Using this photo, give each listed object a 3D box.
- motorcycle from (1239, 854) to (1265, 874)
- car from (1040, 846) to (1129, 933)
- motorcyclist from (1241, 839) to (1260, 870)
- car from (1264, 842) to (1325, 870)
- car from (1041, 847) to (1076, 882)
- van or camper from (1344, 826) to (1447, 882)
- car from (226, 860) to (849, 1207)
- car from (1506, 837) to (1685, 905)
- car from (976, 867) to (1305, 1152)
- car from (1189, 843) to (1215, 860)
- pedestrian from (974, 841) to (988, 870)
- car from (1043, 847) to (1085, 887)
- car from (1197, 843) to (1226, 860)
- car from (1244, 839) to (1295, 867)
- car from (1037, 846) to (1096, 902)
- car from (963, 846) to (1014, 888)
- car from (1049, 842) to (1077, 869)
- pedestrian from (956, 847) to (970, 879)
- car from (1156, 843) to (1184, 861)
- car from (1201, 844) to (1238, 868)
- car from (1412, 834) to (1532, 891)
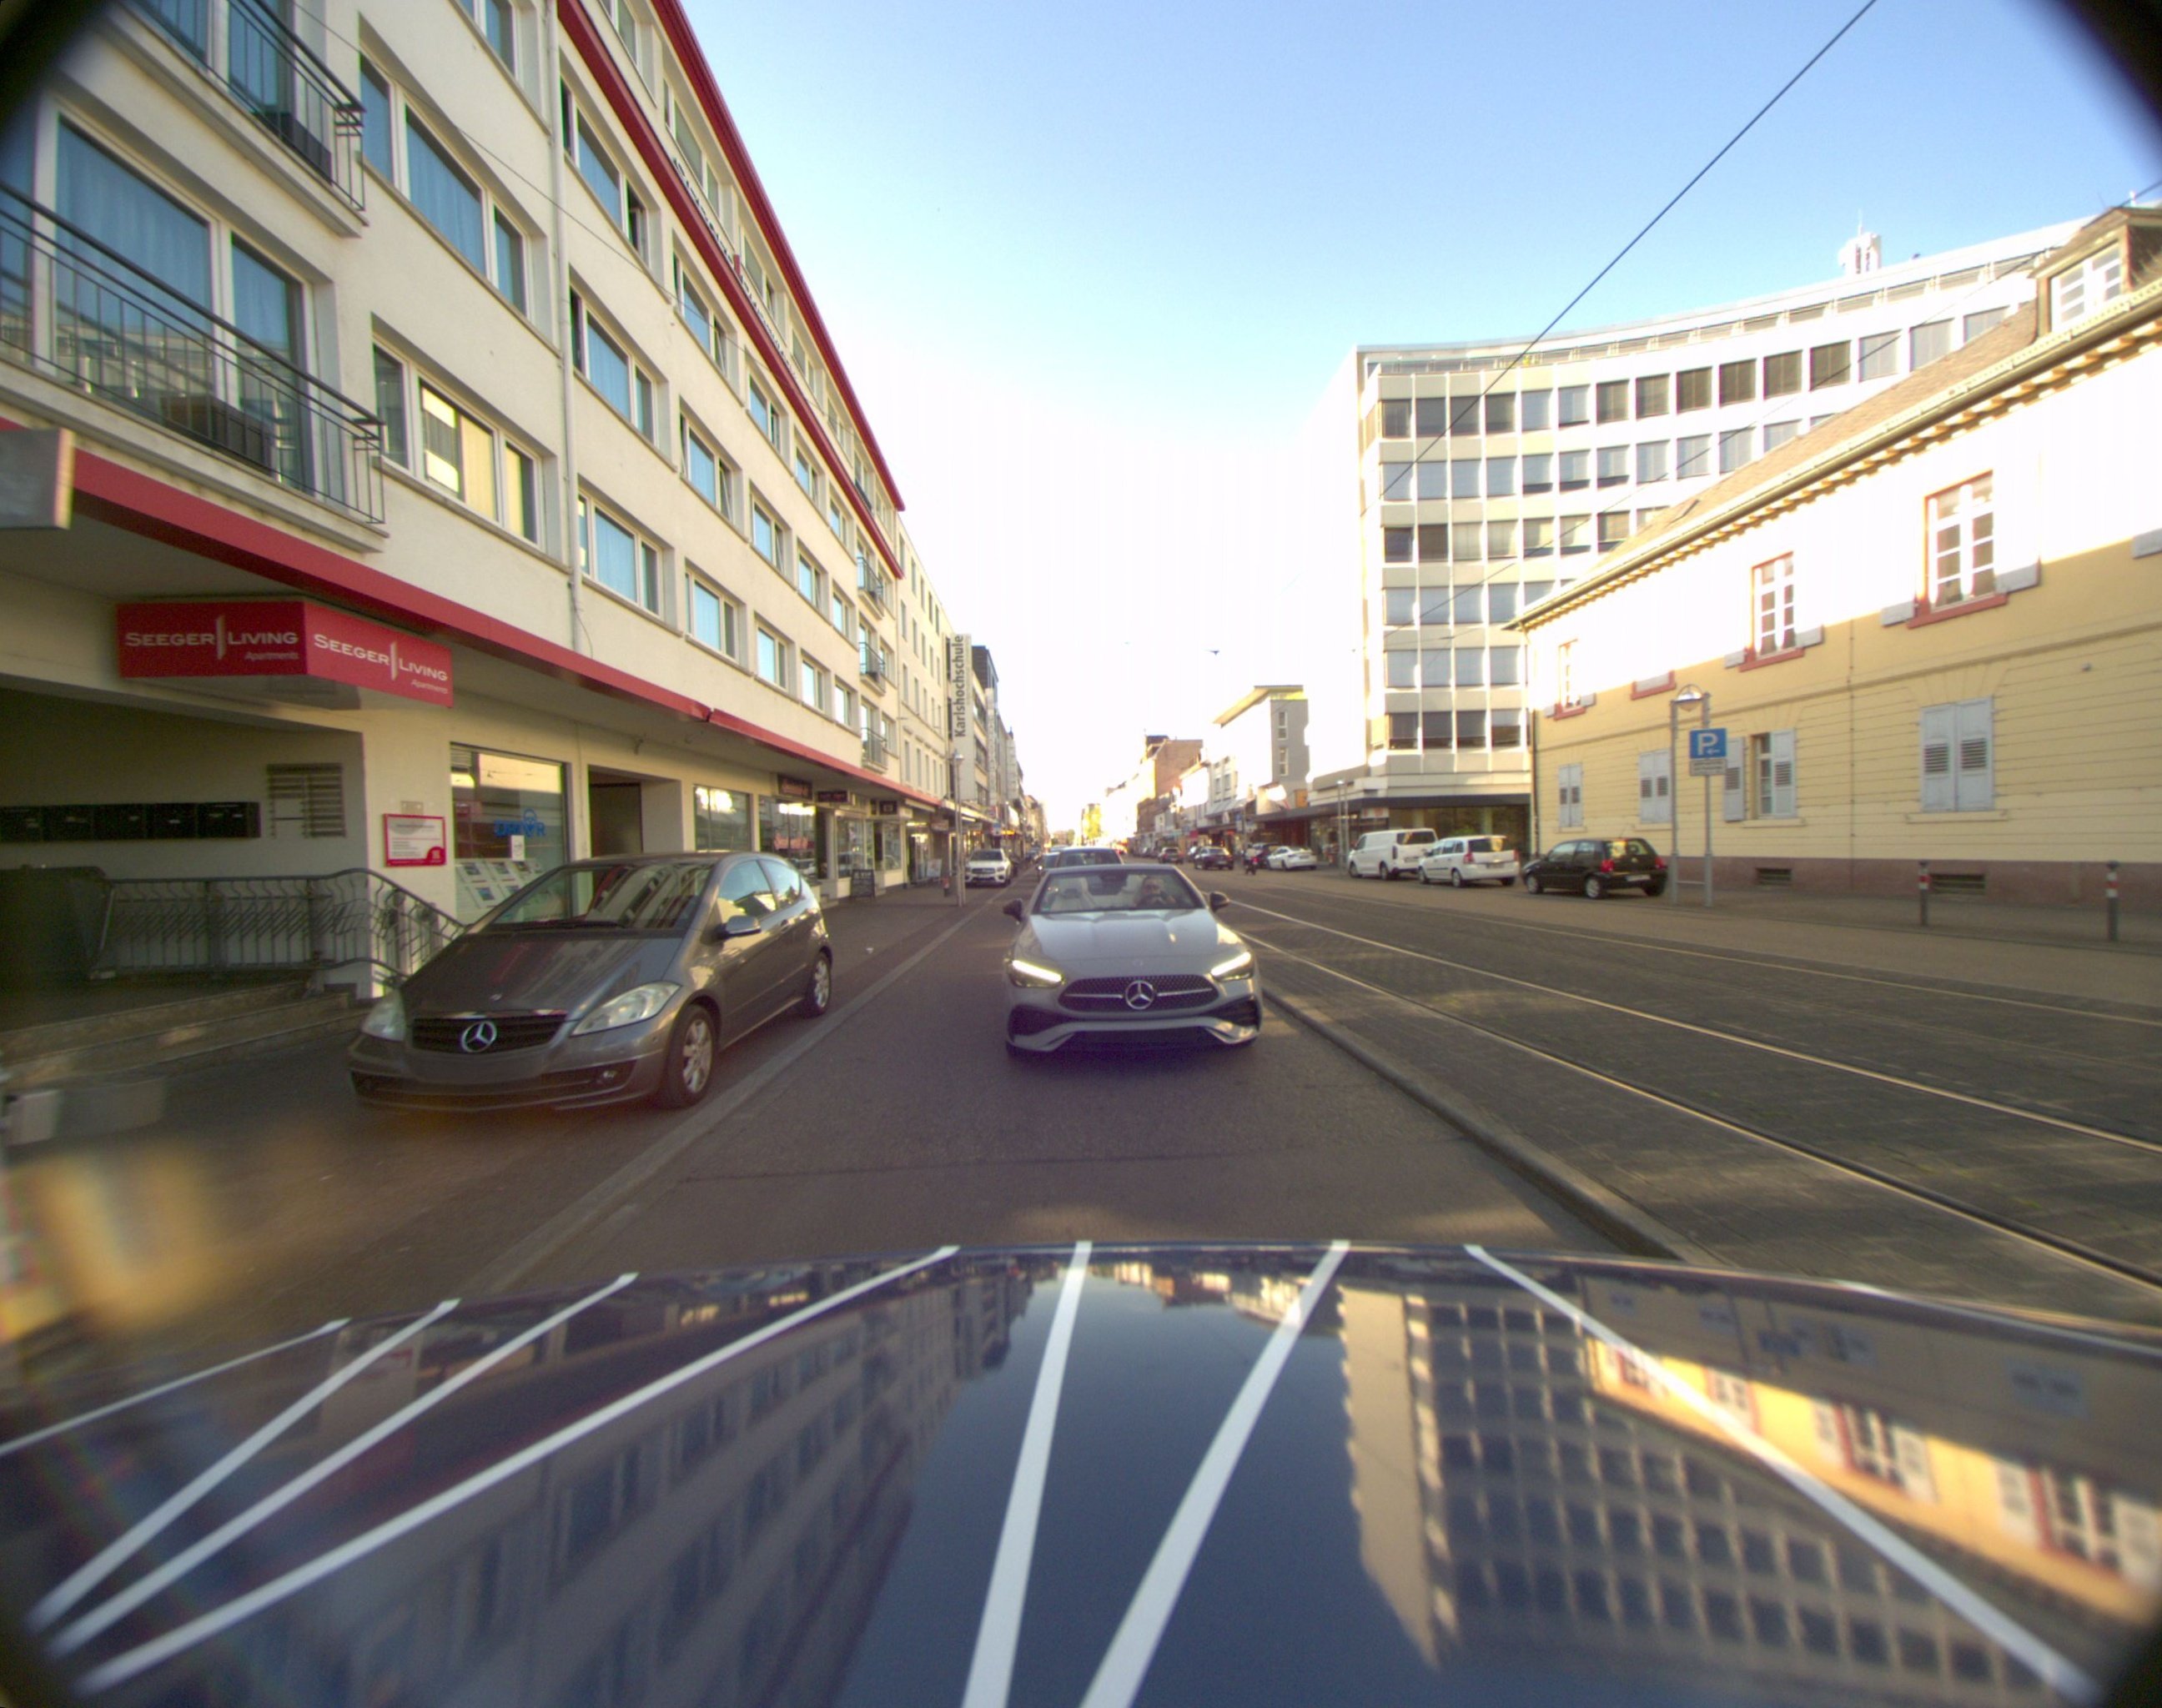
[{"bbox_3d":[8.868,0.498,39.439,0.601,0.921,2.154,-2,1,-7],"label":"motorcycle"},{"bbox_3d":[0.046,0.686,16.908,1.737,1.654,3.960,0,1,-1],"label":"car"},{"bbox_3d":[8.835,0.031,39.589,0.654,1.550,0.883,-2,2,-7],"label":"motorcyclist"},{"bbox_3d":[12.260,0.064,43.968,1.931,1.444,4.291,-4,1,-5],"label":"car"},{"bbox_3d":[-1.120,0.501,39.150,1.737,1.654,3.780,0,1,-1],"label":"car"},{"bbox_3d":[12.553,-0.034,30.688,1.960,1.962,4.795,-4,1,-2],"label":"van or camper"},{"bbox_3d":[-3.216,0.885,5.651,1.781,1.560,3.960,0,1,-1],"label":"car"},{"bbox_3d":[12.792,0.349,19.234,1.781,1.431,3.960,-3,1,-1],"label":"car"},{"bbox_3d":[0.318,0.922,6.705,1.869,1.431,4.773,0,1,-1],"label":"car"},{"bbox_3d":[11.519,-0.278,72.579,1.786,1.511,3.831,-2,1,-2],"label":"car"},{"bbox_3d":[-6.293,0.073,47.975,0.738,1.807,0.748,-2,2,-3],"label":"pedestrian"},{"bbox_3d":[-0.735,0.522,33.816,1.737,1.654,3.960,0,1,-1],"label":"car"},{"bbox_3d":[11.559,-0.241,67.482,1.786,1.409,3.596,-2,1,-3],"label":"car"},{"bbox_3d":[12.195,-0.091,49.499,1.931,1.633,4.280,-4,1,-4],"label":"car"},{"bbox_3d":[-0.472,0.591,25.373,1.783,1.654,3.960,0,1,-1],"label":"car"},{"bbox_3d":[-3.975,0.525,33.313,1.783,1.654,4.162,0,1,-1],"label":"car"},{"bbox_3d":[-1.121,0.062,48.175,1.737,1.654,3.960,0,1,-1],"label":"car"},{"bbox_3d":[-6.961,0.520,44.897,0.706,1.807,0.807,-2,2,-3],"label":"pedestrian"},{"bbox_3d":[7.629,-0.190,65.421,1.781,1.501,3.859,-1,1,-2],"label":"car"},{"bbox_3d":[8.837,0.092,48.881,1.781,1.501,4.670,-1,1,3],"label":"car"},{"bbox_3d":[12.663,0.212,24.930,1.781,1.611,4.175,-3,1,1],"label":"car"}]
